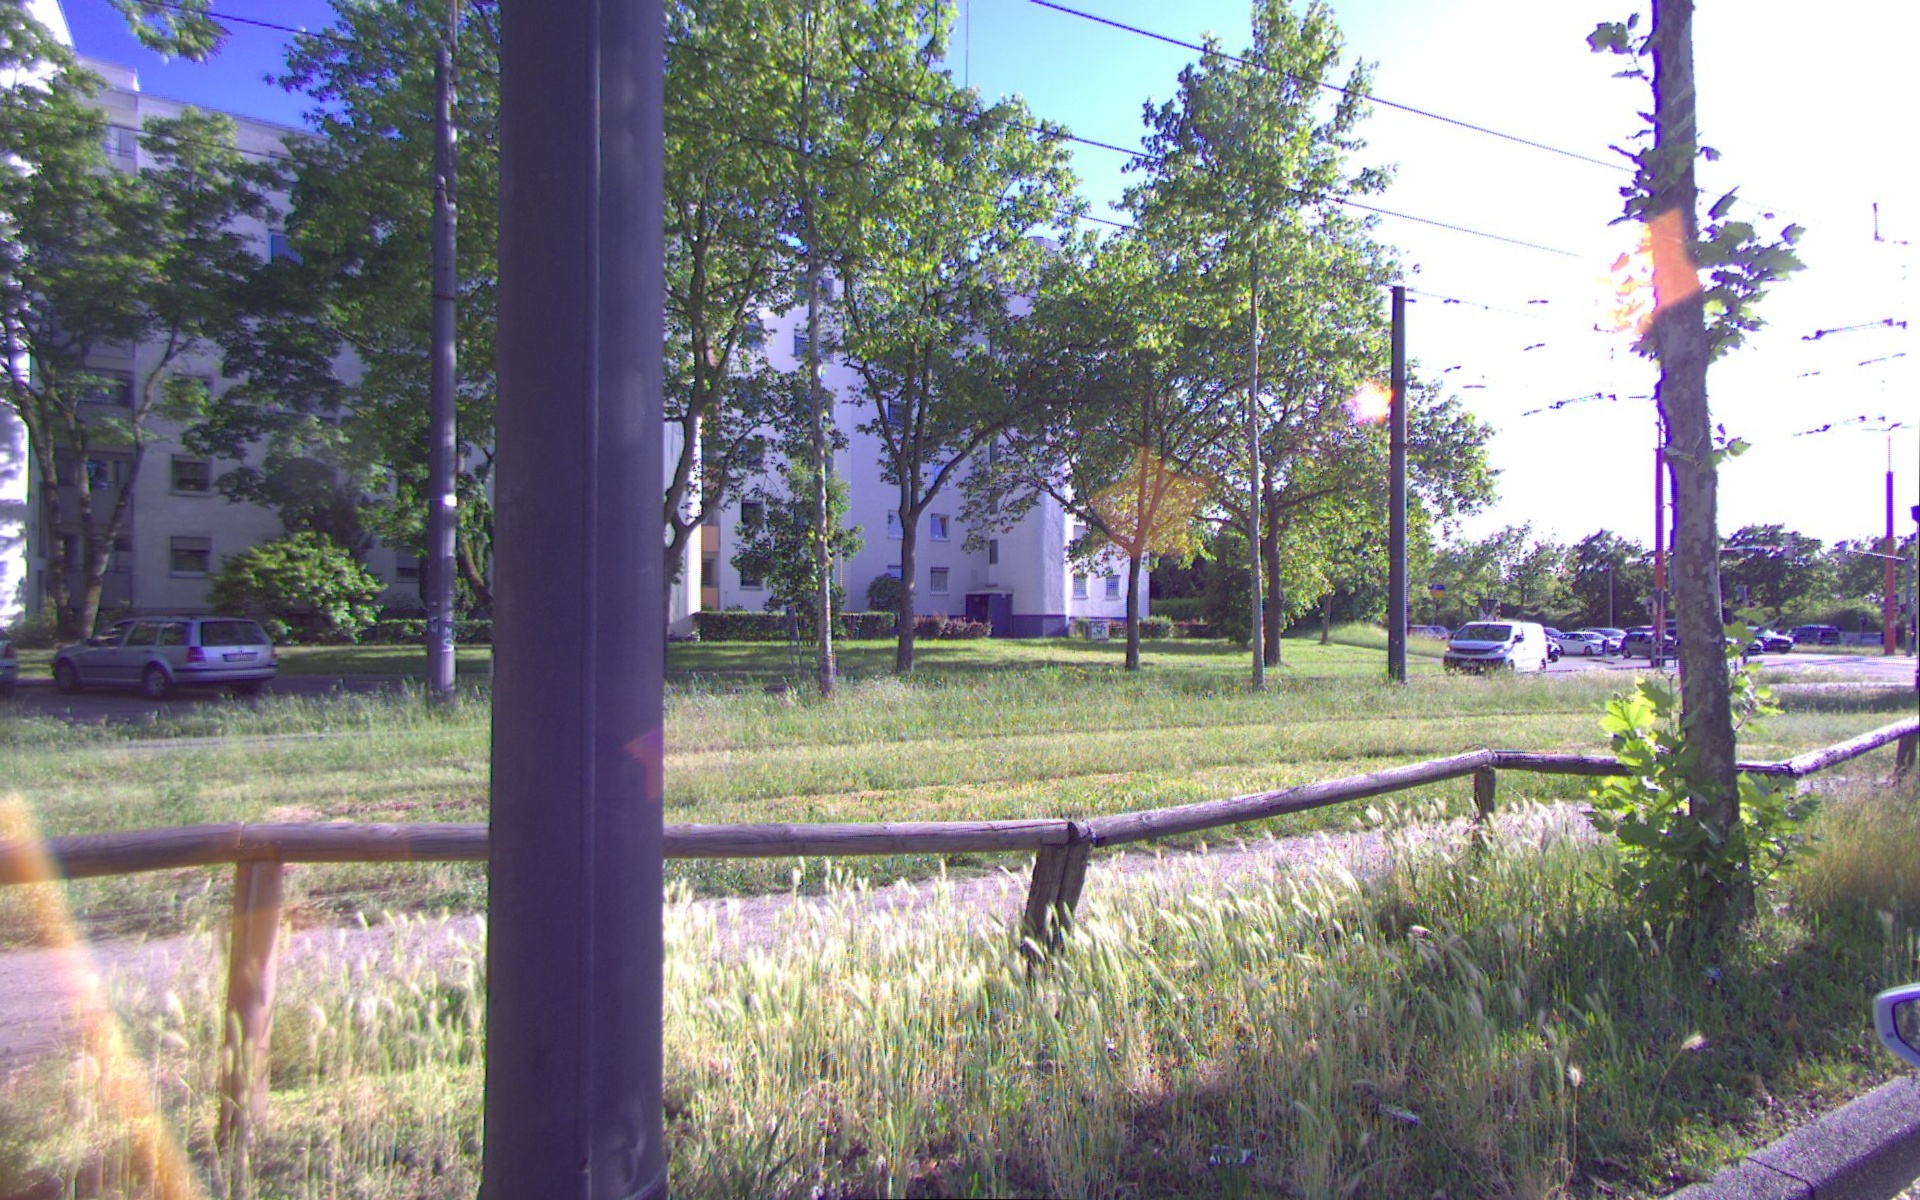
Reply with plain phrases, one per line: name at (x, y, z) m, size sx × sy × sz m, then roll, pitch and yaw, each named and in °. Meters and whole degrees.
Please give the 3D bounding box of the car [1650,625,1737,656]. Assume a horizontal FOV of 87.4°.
car at (42.329, 2.307, 58.106) m, size 1.624 × 1.669 × 4.644 m, roll 1°, pitch -1°, yaw 1°

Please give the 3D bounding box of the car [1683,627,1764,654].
car at (45.577, 2.391, 60.063) m, size 1.513 × 1.434 × 4.154 m, roll 1°, pitch -1°, yaw -3°

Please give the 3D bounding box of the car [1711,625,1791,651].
car at (48.655, 2.321, 61.896) m, size 1.513 × 1.434 × 4.154 m, roll 1°, pitch -1°, yaw -3°

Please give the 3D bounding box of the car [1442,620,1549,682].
car at (17.552, 1.588, 32.805) m, size 1.808 × 1.845 × 4.872 m, roll 0°, pitch -1°, yaw 44°

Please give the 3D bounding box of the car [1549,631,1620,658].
car at (38.920, 2.753, 62.736) m, size 1.624 × 1.540 × 4.638 m, roll 1°, pitch -1°, yaw 1°

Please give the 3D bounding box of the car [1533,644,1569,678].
car at (32.336, 3.276, 54.954) m, size 1.627 × 1.640 × 4.285 m, roll 1°, pitch -1°, yaw 31°

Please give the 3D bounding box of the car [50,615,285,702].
car at (-14.534, 1.009, 18.431) m, size 3.830 × 1.421 × 1.581 m, roll 1°, pitch 0°, yaw 20°

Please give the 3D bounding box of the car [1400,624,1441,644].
car at (38.646, 2.812, 84.394) m, size 1.624 × 1.540 × 4.200 m, roll 1°, pitch -1°, yaw 1°

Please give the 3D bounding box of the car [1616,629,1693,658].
car at (38.967, 2.406, 56.449) m, size 1.624 × 1.460 × 3.841 m, roll 1°, pitch -1°, yaw -2°

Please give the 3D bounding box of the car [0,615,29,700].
car at (-17.983, 0.946, 17.157) m, size 3.567 × 1.421 × 1.581 m, roll 1°, pitch 0°, yaw 20°

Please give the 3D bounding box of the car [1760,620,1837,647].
car at (59.084, 2.320, 70.862) m, size 1.765 × 1.814 × 4.129 m, roll 1°, pitch -1°, yaw -5°
